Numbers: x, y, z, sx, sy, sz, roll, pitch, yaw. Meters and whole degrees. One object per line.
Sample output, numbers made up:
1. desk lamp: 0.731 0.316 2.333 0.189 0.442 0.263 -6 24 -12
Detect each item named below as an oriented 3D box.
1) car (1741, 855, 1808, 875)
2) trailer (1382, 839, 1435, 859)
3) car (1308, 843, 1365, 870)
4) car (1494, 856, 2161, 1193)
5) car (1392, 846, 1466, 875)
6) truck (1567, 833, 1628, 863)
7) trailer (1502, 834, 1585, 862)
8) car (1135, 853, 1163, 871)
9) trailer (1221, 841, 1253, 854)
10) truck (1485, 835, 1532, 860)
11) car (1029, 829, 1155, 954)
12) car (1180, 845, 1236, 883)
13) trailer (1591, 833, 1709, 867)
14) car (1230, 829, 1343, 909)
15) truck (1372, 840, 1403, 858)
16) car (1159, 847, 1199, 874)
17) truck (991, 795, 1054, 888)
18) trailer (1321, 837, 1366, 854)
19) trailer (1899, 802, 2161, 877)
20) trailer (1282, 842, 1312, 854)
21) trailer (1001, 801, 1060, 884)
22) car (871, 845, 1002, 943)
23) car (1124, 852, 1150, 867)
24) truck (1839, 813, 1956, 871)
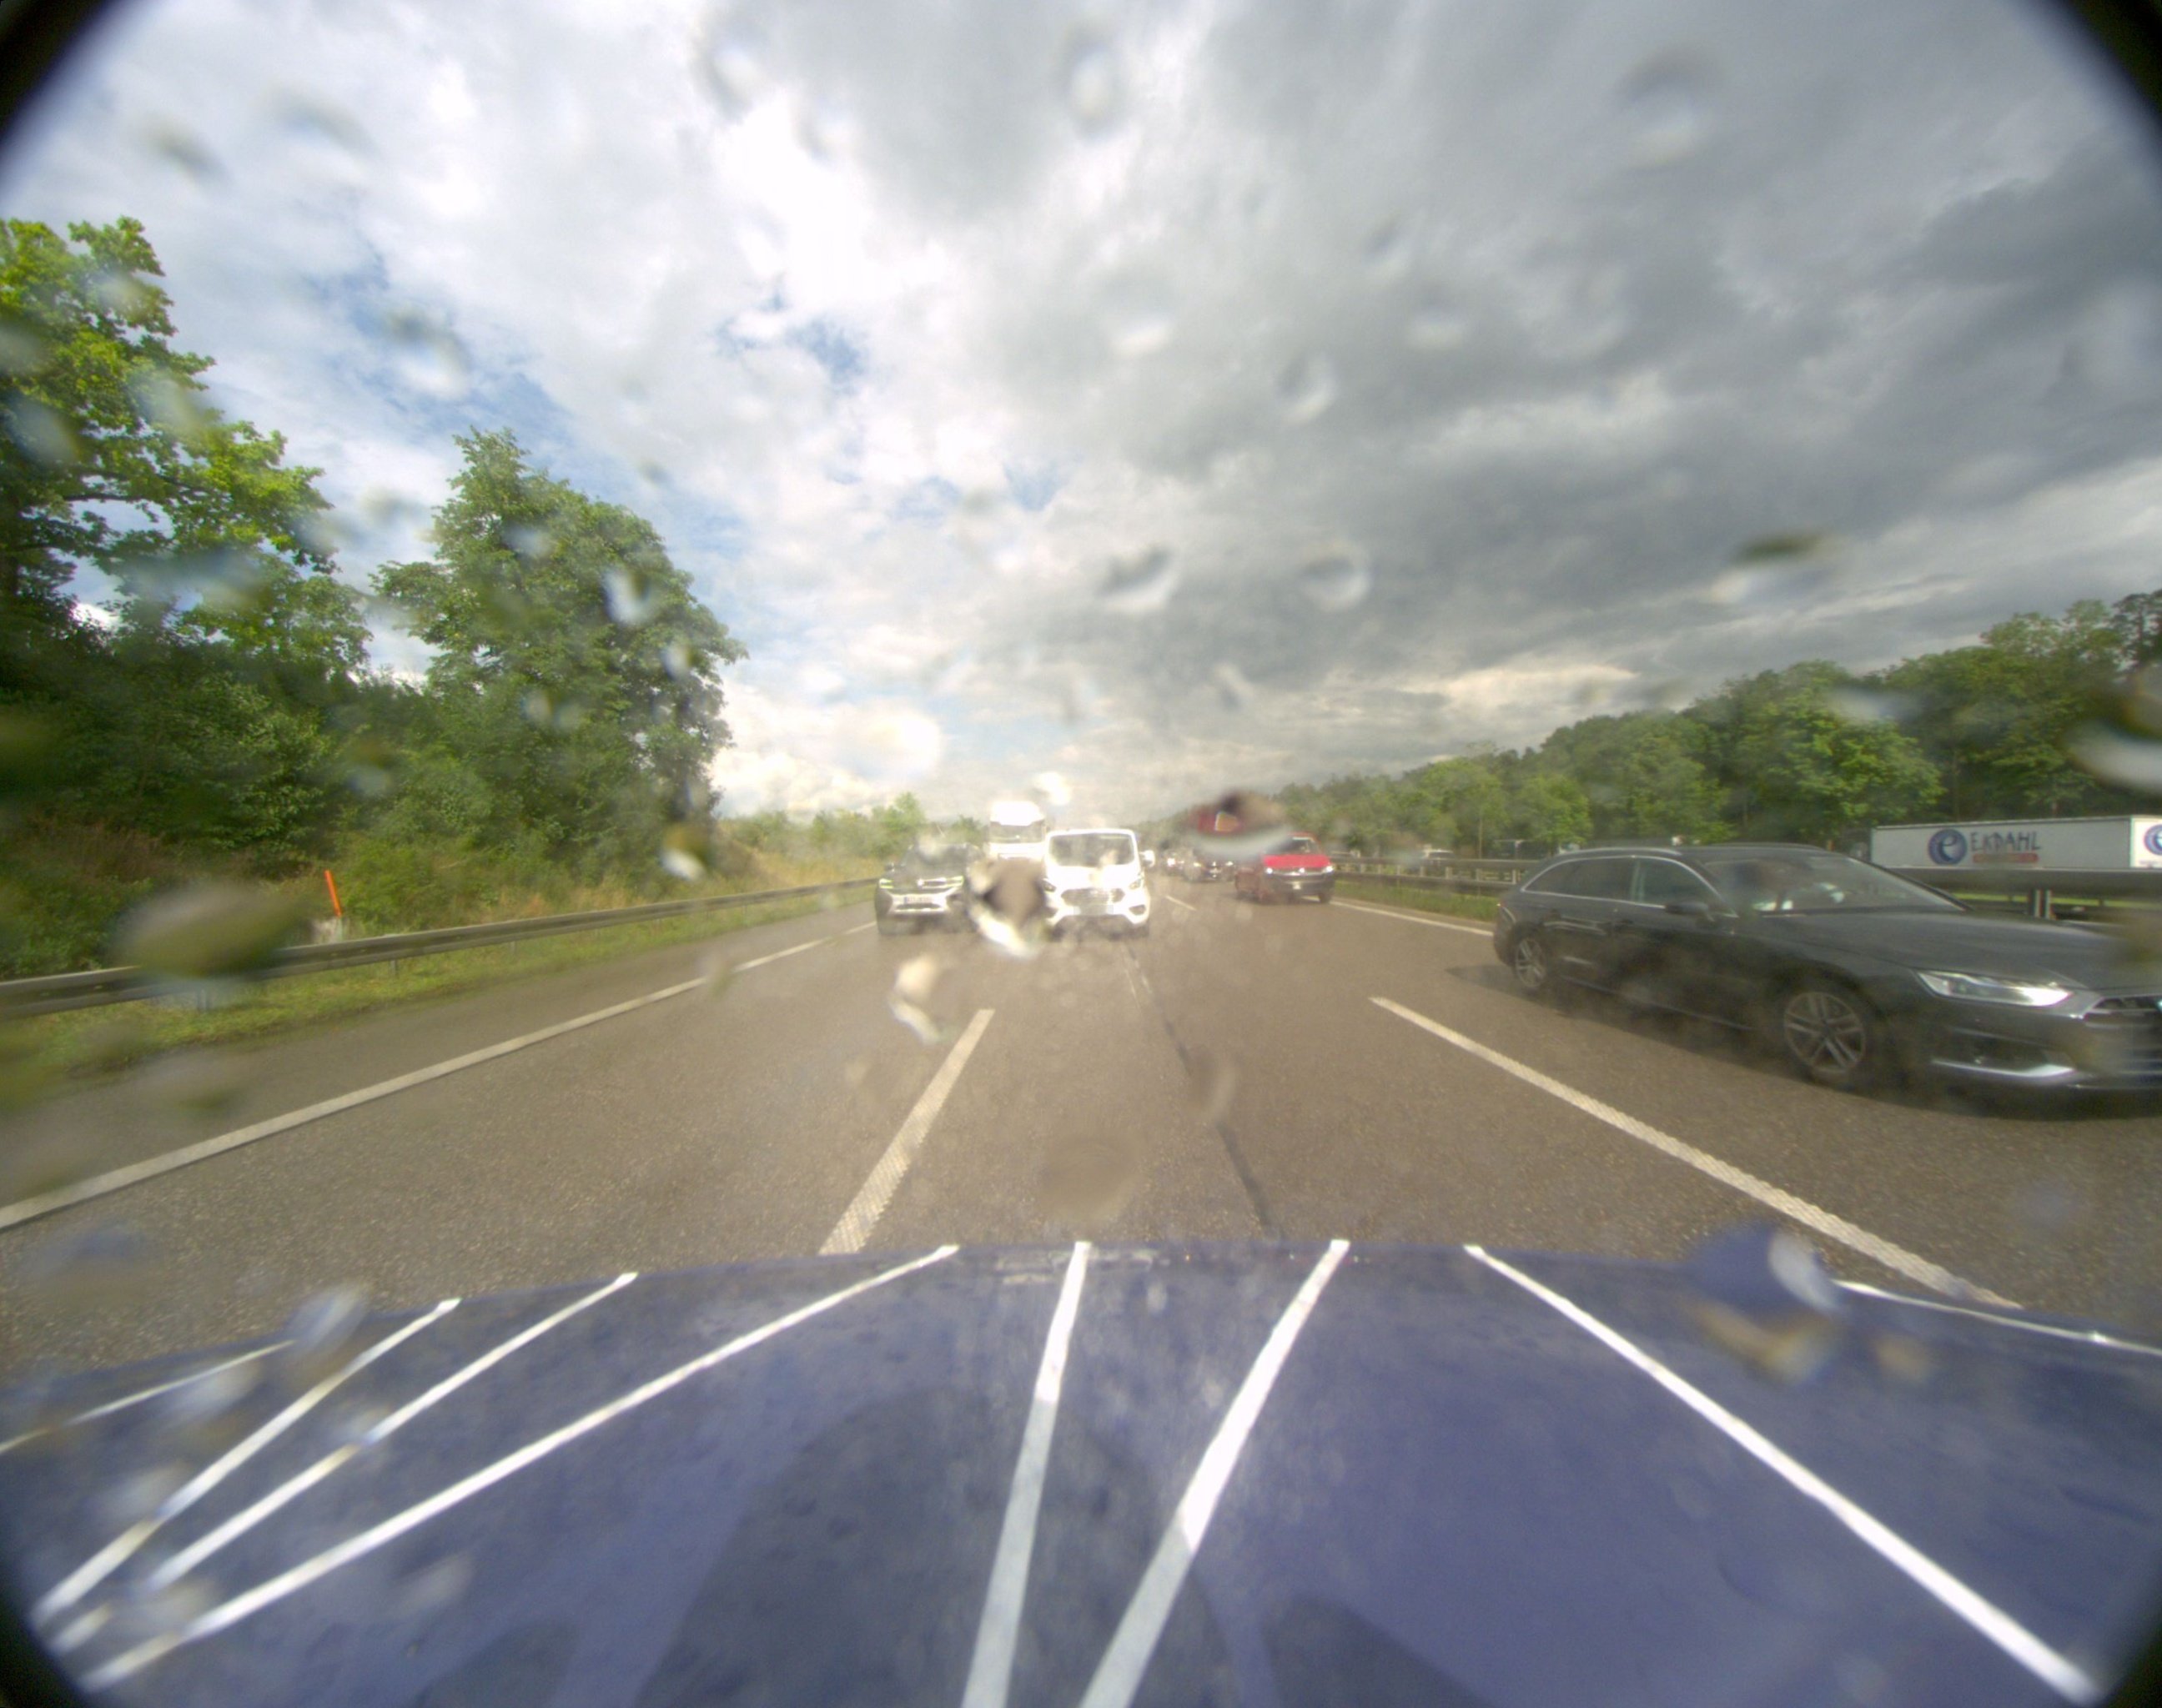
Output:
1. car: 54.847 0.827 60.193 1.899 1.494 4.001 0 1 4
2. trailer: 55.299 -0.863 128.761 3.193 3.253 12.644 0 1 -2
3. car: 13.893 0.112 41.557 1.806 1.329 3.999 -2 1 1
4. car: 5.124 0.764 5.601 1.723 1.403 4.467 -2 1 0
5. car: 17.905 0.315 39.308 1.806 1.329 4.410 -2 1 1
6. truck: 56.397 -0.645 83.168 3.049 3.165 5.597 0 1 2
7. trailer: 56.863 -0.770 93.946 2.611 3.253 12.646 0 1 0
8. car: 4.967 0.558 55.969 1.675 1.228 3.999 -2 0 0
9. trailer: 41.828 -1.764 204.338 2.707 3.492 13.404 0 0 -14
10. truck: 56.845 -0.845 101.202 2.582 3.232 6.535 0 1 0
11. car: 0.188 0.594 14.908 1.985 1.973 5.168 -2 0 0
12. car: 5.981 0.422 36.206 1.895 1.660 4.294 -1 1 0
13. trailer: 56.108 -0.421 75.589 3.026 3.174 12.175 0 0 2
14. car: 5.648 0.368 21.558 1.895 1.973 4.750 -2 0 0
15. truck: 55.026 -0.937 136.484 3.182 3.237 5.389 1 1 -2
16. car: 5.946 0.372 46.455 1.895 1.558 4.053 -1 1 0
17. truck: -2.719 -0.567 36.650 2.460 4.080 5.332 -2 0 0
18. trailer: 52.819 -1.622 153.529 3.086 3.253 13.400 0 1 -6
19. trailer: 52.377 -0.734 42.411 2.187 3.579 11.725 0 0 8
20. trailer: 49.431 -1.322 174.073 2.537 2.559 9.869 -2 1 -11
21. trailer: -2.690 -0.666 44.424 2.451 4.095 12.214 -2 1 0
22. car: -2.981 0.730 16.906 1.831 1.793 5.305 -1 0 0
23. car: 4.715 0.440 64.585 1.888 1.228 4.506 -2 0 0
24. truck: 53.366 -0.783 49.899 2.167 3.599 5.581 0 1 8
